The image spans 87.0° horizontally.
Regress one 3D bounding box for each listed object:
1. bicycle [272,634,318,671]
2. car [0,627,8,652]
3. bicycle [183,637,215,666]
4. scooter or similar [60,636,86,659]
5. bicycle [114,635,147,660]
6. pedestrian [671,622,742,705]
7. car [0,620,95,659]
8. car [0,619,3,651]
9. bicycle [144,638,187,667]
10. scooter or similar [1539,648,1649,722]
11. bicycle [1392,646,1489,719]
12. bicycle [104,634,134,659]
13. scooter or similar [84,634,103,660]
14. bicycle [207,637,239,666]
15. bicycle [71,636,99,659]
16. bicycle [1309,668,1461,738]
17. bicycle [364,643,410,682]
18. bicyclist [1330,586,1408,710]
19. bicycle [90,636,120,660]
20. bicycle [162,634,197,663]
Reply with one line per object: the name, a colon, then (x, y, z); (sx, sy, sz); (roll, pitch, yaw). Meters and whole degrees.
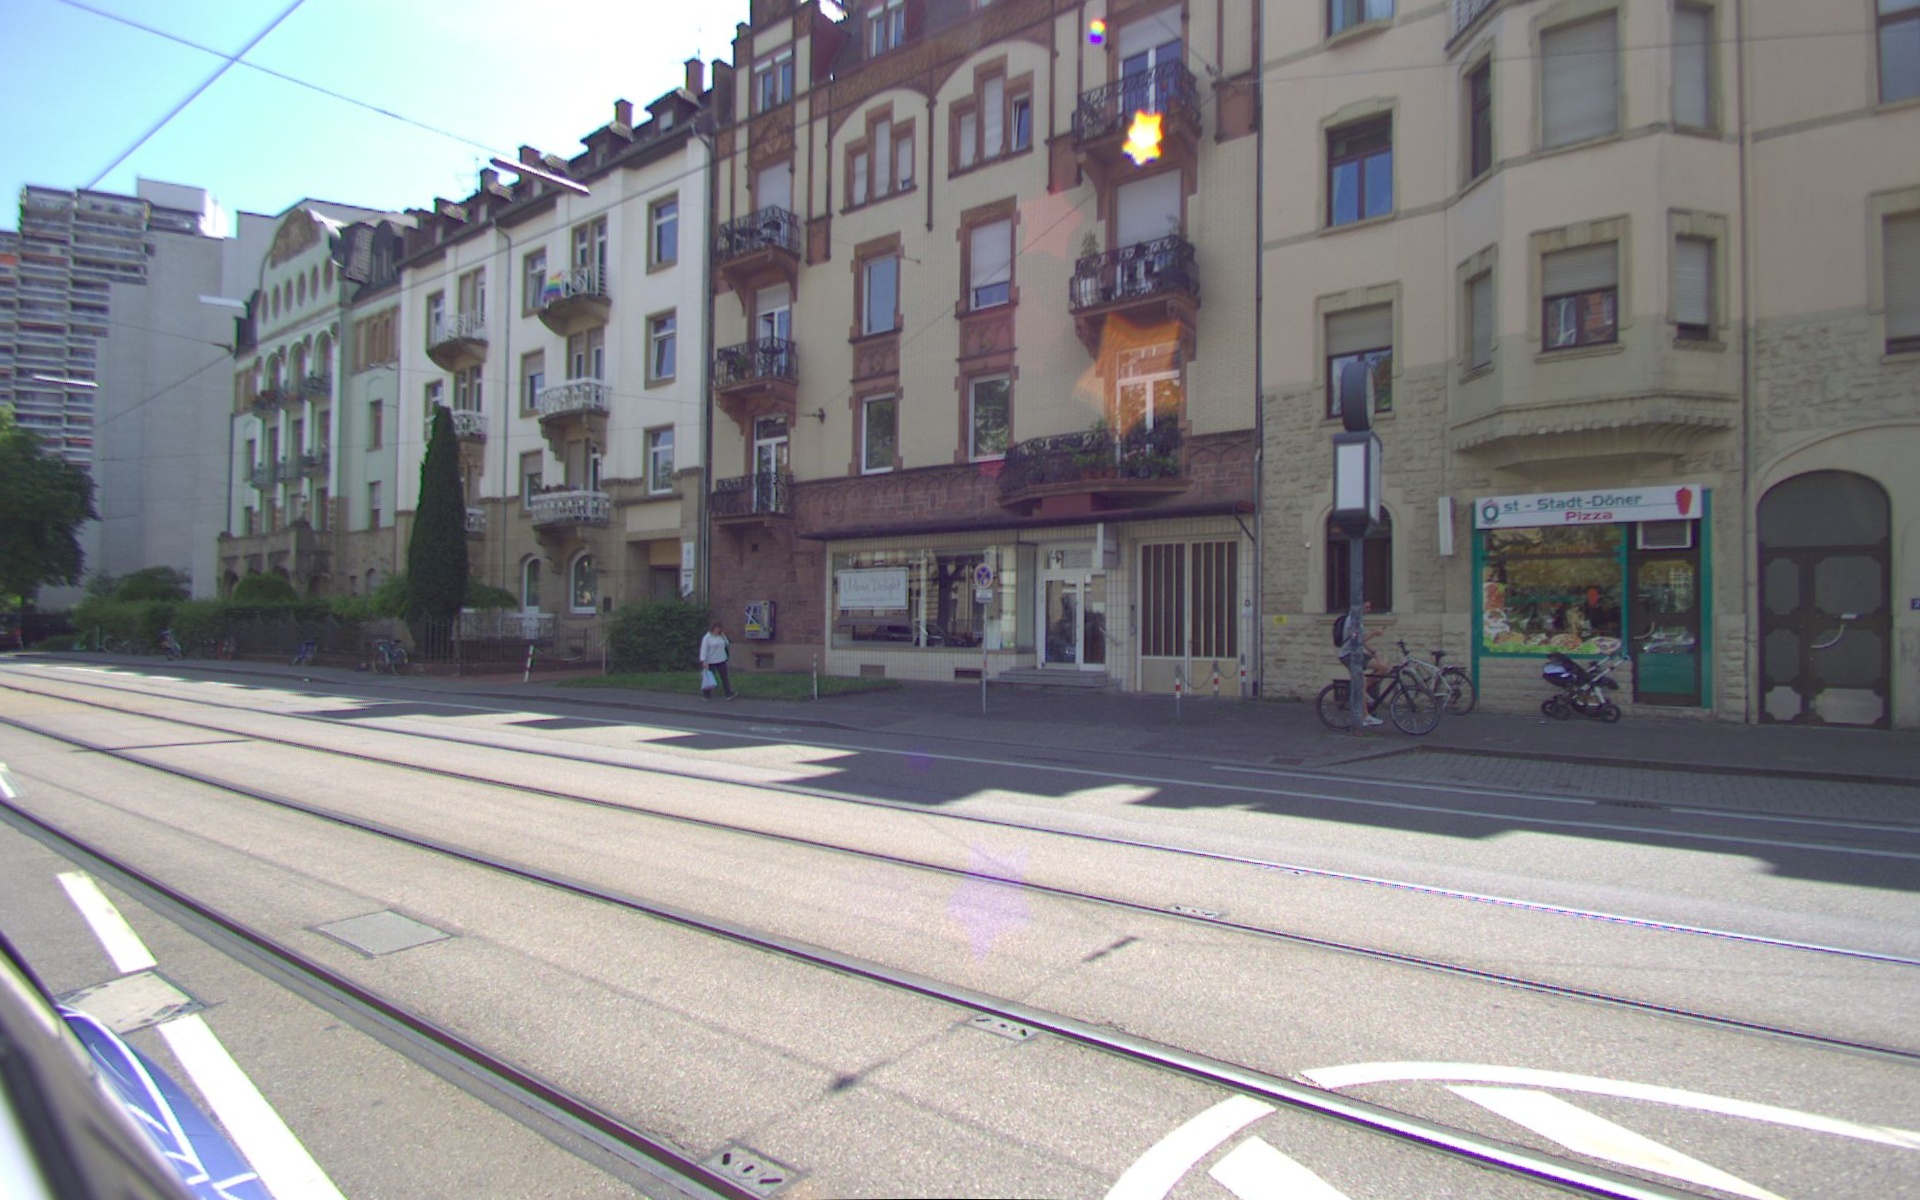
bicycle: (-20.625, 1.620, 31.359); (1.768, 1.073, 0.602); (-2, 1, 37)
car: (-60.491, 2.386, 61.640); (1.657, 1.587, 3.688); (1, -2, -5)
bicycle: (-27.345, 1.837, 36.376); (1.705, 1.007, 0.460); (-1, 1, 38)
scooter or similar: (-41.389, 2.218, 47.223); (1.215, 1.028, 0.404); (-1, -3, 22)
bicycle: (-34.281, 1.967, 41.815); (1.768, 0.983, 0.602); (-2, 1, 37)
pedestrian: (-4.900, 1.217, 19.574); (0.982, 1.554, 0.893); (-1, -3, 35)
car: (-47.481, 2.033, 52.093); (1.935, 1.940, 4.586); (0, -2, 0)
car: (-63.106, 2.187, 63.946); (1.578, 2.058, 4.055); (0, -2, -3)
bicycle: (-28.614, 1.870, 36.496); (0.599, 1.007, 1.780); (1, -2, -17)
scooter or similar: (9.497, 1.257, 15.189); (1.192, 1.052, 0.696); (0, -1, -3)
bicycle: (7.716, 1.301, 16.303); (0.365, 1.074, 1.469); (1, 0, -29)
bicycle: (-35.712, 1.968, 42.966); (1.705, 0.996, 0.602); (-2, 1, 37)
scooter or similar: (-38.635, 2.078, 45.137); (1.289, 1.129, 0.402); (-2, -3, 39)
bicycle: (-25.785, 1.804, 35.390); (1.723, 0.973, 0.409); (-1, 1, 38)
bicycle: (-40.031, 2.181, 46.293); (1.705, 0.996, 0.602); (-2, 1, 37)
bicycle: (5.866, 1.402, 14.003); (1.817, 0.824, 0.745); (-1, -1, 36)
bicycle: (-15.651, 1.683, 27.631); (1.838, 0.968, 0.406); (0, 1, 38)
bicyclist: (5.724, 0.663, 14.162); (0.830, 1.676, 0.749); (-1, -3, 38)
bicycle: (-37.346, 2.106, 44.193); (1.705, 0.996, 0.602); (-2, 1, 37)
bicycle: (-29.799, 1.851, 38.625); (1.768, 1.040, 0.602); (-2, 1, 37)
